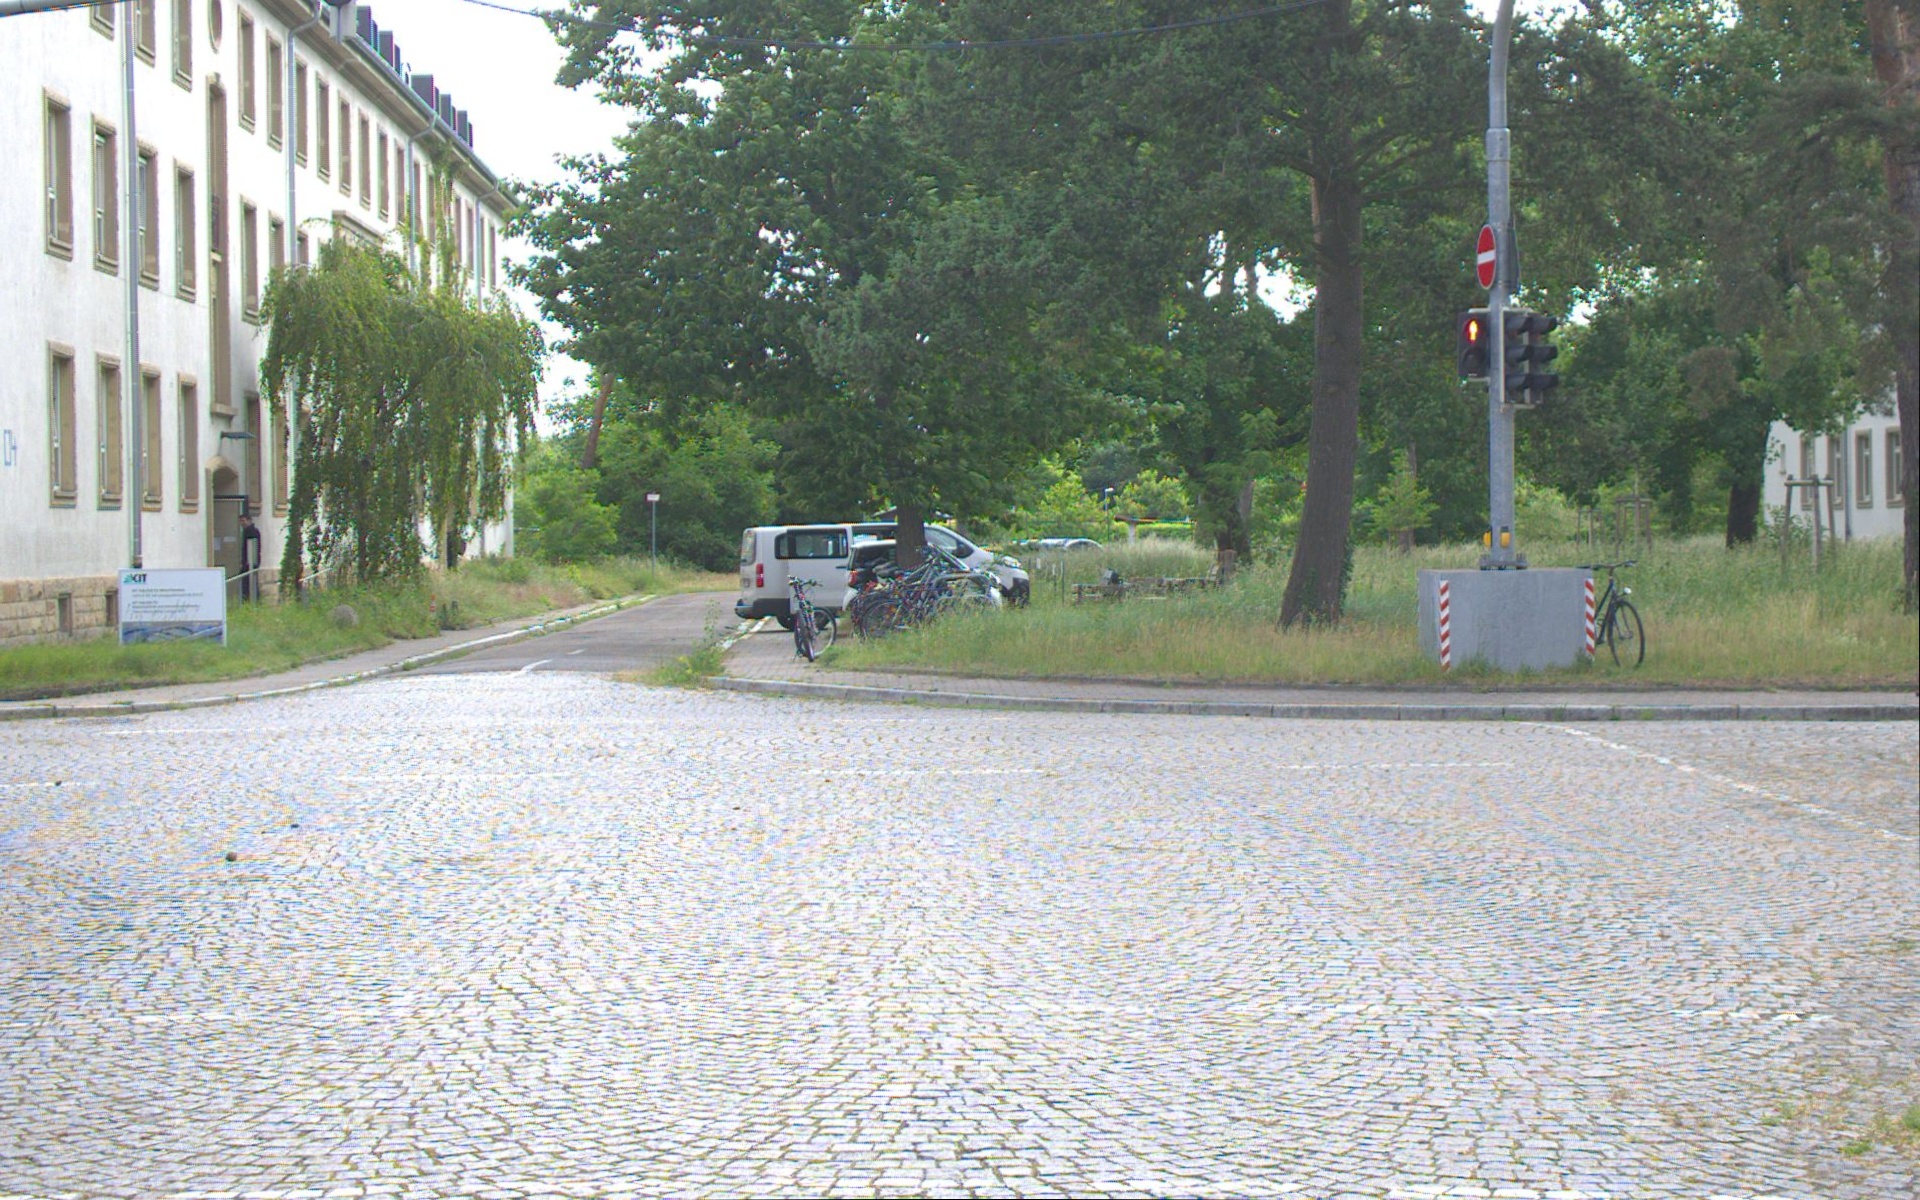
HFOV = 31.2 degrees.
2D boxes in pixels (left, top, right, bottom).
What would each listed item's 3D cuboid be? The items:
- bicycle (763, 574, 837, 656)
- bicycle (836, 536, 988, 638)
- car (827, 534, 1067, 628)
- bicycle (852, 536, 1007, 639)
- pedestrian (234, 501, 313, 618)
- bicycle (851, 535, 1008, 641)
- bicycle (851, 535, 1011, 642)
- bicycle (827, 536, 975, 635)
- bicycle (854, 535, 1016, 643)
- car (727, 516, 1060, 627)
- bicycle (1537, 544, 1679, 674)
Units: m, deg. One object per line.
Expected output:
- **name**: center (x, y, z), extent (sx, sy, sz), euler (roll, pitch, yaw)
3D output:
- **bicycle**: center (-1.975, 0.173, 42.643), extent (0.618, 0.960, 2.076), euler (-1, 1, 6)
- **bicycle**: center (-0.661, -0.187, 47.343), extent (2.070, 1.373, 0.620), euler (-1, 1, 0)
- **car**: center (-0.248, -0.336, 58.980), extent (3.932, 1.539, 2.000), euler (-1, 1, -6)
- **bicycle**: center (-0.415, -0.172, 46.548), extent (2.070, 1.373, 0.620), euler (-1, 1, 0)
- **pedestrian**: center (-11.931, -0.706, 59.804), extent (1.087, 2.007, 1.021), euler (-1, 1, 4)
- **bicycle**: center (-0.404, -0.164, 45.751), extent (2.070, 1.373, 0.620), euler (-1, 1, 0)
- **bicycle**: center (-0.385, -0.157, 45.126), extent (2.070, 1.373, 0.620), euler (-1, 1, 0)
- **bicycle**: center (-0.835, -0.205, 48.827), extent (2.070, 1.373, 0.620), euler (-1, 1, 0)
- **bicycle**: center (-0.325, -0.149, 44.457), extent (2.070, 1.373, 0.620), euler (-1, 1, 0)
- **car**: center (-1.226, -0.533, 62.335), extent (5.690, 1.904, 2.231), euler (-1, 1, -13)
- **bicycle**: center (6.060, 0.069, 32.266), extent (0.908, 1.173, 1.874), euler (-1, 1, -2)
